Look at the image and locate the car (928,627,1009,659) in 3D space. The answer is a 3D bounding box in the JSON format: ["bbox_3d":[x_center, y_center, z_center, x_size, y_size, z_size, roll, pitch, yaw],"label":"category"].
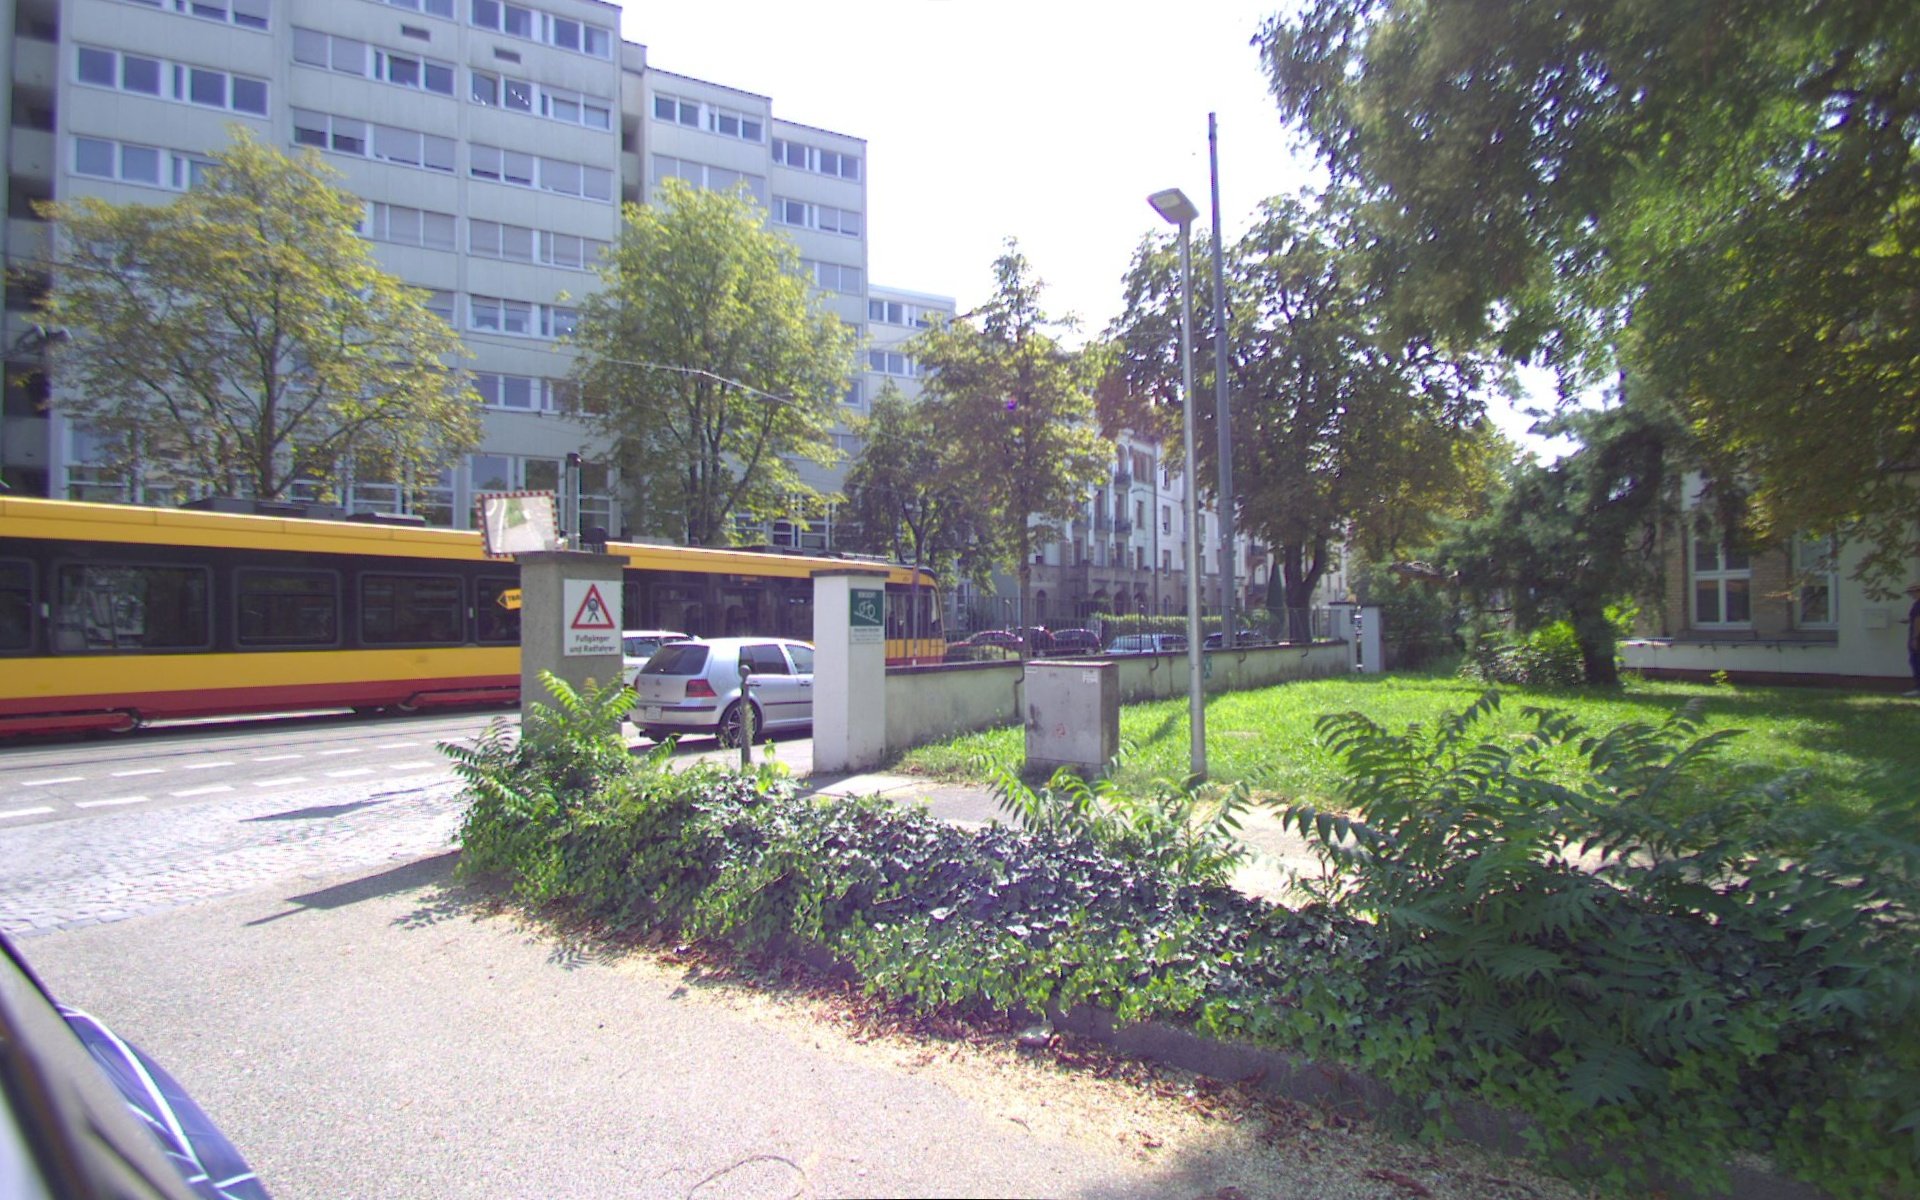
[{"bbox_3d":[0.385,1.991,47.305,3.614,1.463,1.679,0,-2,-6],"label":"car"}]

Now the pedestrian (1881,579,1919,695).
[{"bbox_3d":[15.555,0.580,16.069,0.723,1.842,1.134,0,-2,-28],"label":"pedestrian"}]

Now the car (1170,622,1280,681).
[{"bbox_3d":[7.897,1.474,29.935,1.797,1.589,3.950,-2,-2,37],"label":"car"}]

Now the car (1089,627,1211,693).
[{"bbox_3d":[4.774,1.426,25.161,1.642,1.523,3.597,-1,-2,35],"label":"car"}]

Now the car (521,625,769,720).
[{"bbox_3d":[-5.505,1.209,18.121,1.821,1.503,3.971,-2,-2,35],"label":"car"}]

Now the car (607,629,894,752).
[{"bbox_3d":[-2.818,1.174,14.240,1.794,1.457,3.685,-3,-3,37],"label":"car"}]

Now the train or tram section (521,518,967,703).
[{"bbox_3d":[-4.785,0.286,26.455,3.501,3.732,12.260,-1,-1,36],"label":"train or tram section"}]

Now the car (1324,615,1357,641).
[{"bbox_3d":[36.396,2.648,96.776,2.242,2.460,3.957,-1,-2,32],"label":"car"}]

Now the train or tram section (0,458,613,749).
[{"bbox_3d":[-11.972,0.099,16.438,3.501,3.732,12.260,-1,-1,36],"label":"train or tram section"}]
